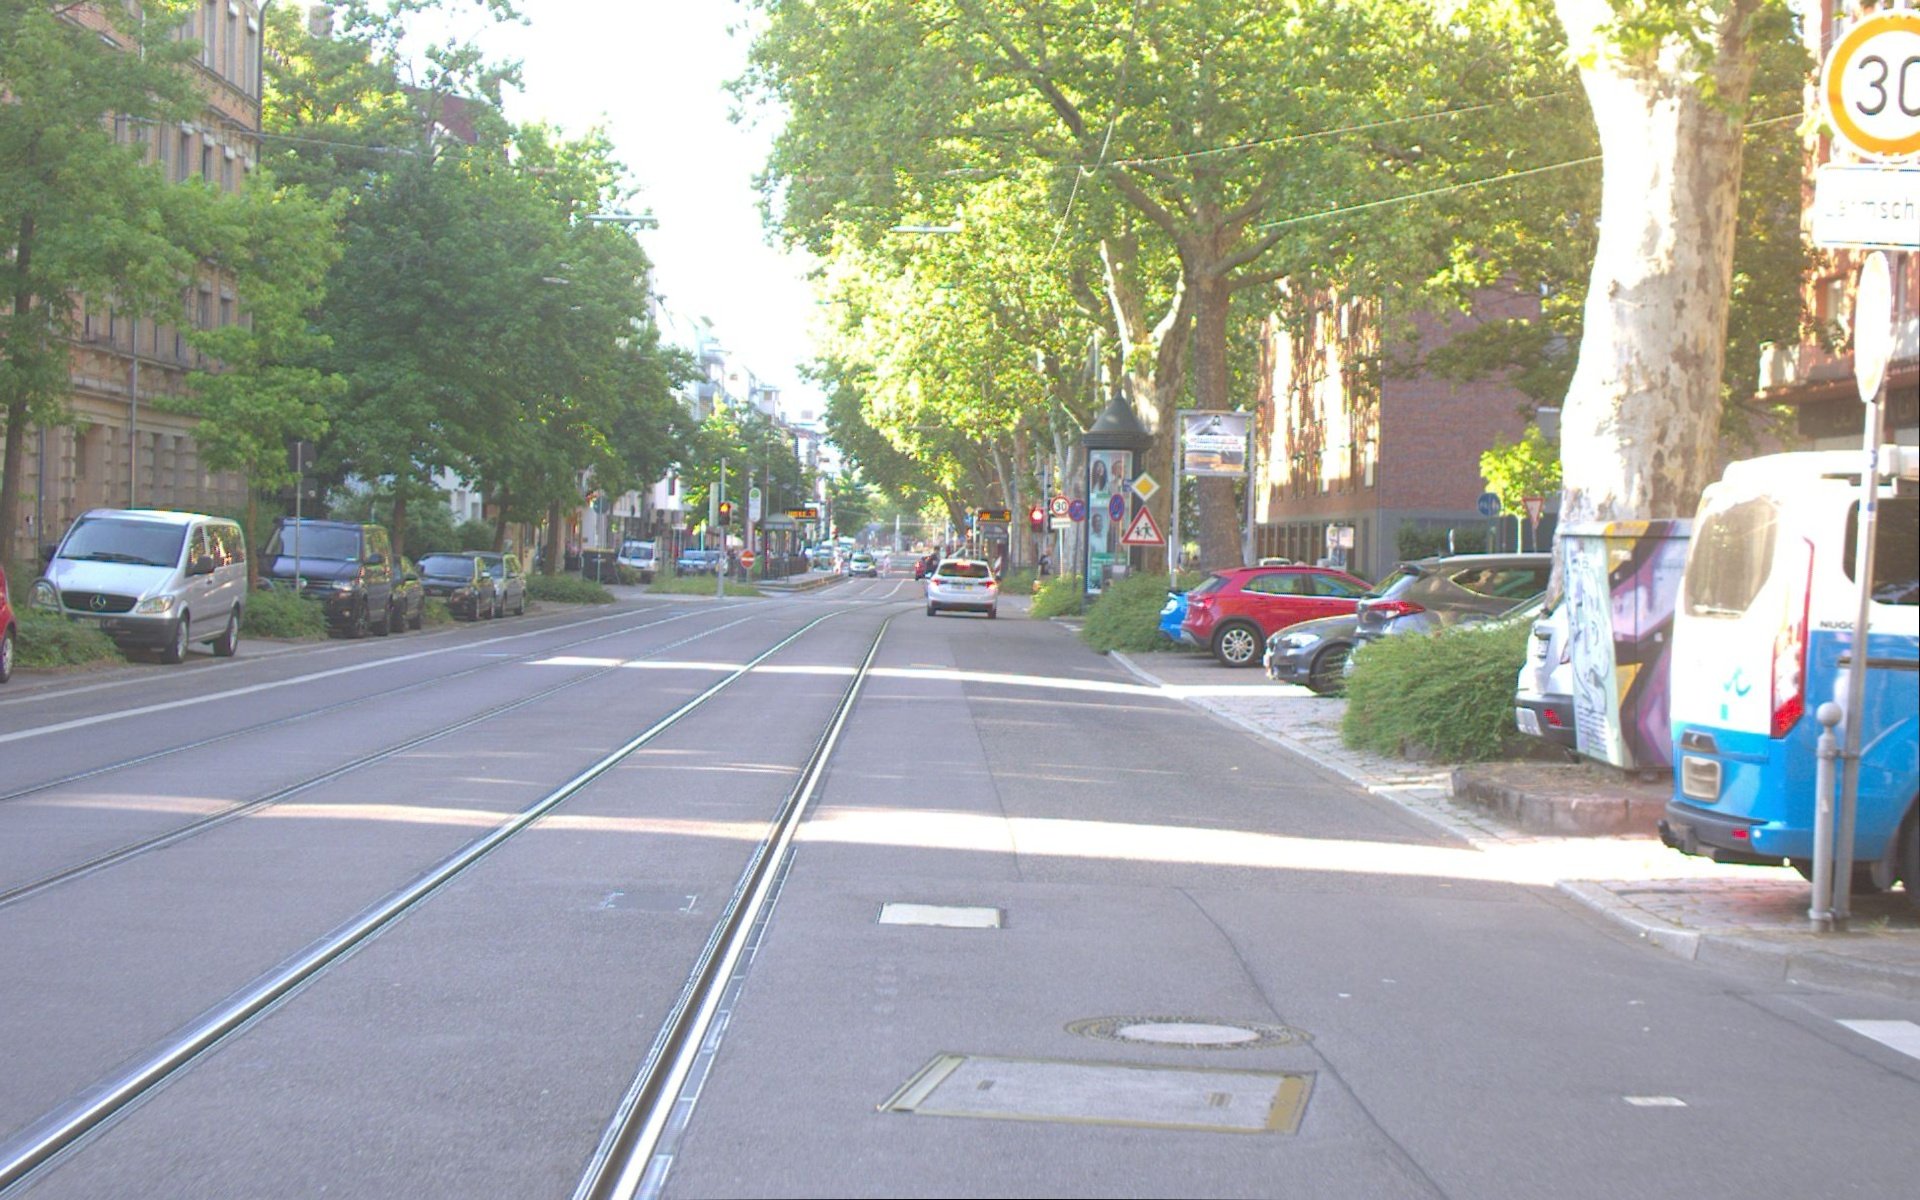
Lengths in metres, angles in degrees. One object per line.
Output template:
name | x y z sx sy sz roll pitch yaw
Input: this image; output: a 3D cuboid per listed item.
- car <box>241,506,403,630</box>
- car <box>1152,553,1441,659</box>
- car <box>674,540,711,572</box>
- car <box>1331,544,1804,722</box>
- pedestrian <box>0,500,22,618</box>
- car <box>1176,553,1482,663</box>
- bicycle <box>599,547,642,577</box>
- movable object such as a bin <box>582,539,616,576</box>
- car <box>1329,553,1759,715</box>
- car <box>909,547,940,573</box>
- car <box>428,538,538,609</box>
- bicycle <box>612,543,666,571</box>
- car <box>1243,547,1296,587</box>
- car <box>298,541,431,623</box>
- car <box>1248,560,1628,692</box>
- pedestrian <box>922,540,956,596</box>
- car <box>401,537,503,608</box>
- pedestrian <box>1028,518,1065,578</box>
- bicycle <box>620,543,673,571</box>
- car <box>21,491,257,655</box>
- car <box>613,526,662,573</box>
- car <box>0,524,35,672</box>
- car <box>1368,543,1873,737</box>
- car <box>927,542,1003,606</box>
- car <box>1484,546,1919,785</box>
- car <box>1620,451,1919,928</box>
car | -10.943 -0.570 59.263 1.993 2.007 4.835 1 1 -2
car | 5.280 0.070 53.906 4.404 1.537 1.817 1 1 7
car | -13.791 -2.276 177.302 1.593 1.543 4.000 4 1 -1
car | 5.886 0.302 33.628 4.199 1.613 1.879 1 1 -3
pedestrian | -13.766 -0.598 48.732 0.605 1.656 0.947 2 1 0
car | 5.492 0.104 51.622 4.403 1.537 1.952 1 1 2
bicycle | -13.226 -1.477 133.938 1.533 1.071 0.885 4 1 -1
movable object such as a bin | -13.843 -1.636 131.861 1.169 1.344 0.783 5 0 -5
car | 6.062 0.335 36.029 4.200 1.568 1.817 1 1 2
car | -2.090 -2.394 203.942 1.788 1.508 4.000 1 1 -1
car | -11.090 -0.644 80.209 1.700 1.545 4.536 2 1 2
bicycle | -14.257 -1.900 152.733 2.253 1.070 0.636 5 1 1
car | 11.993 -1.304 133.403 1.600 1.490 3.417 1 1 -2
car | -11.115 -0.363 64.435 1.853 1.453 4.270 1 1 -2
car | 5.614 0.292 40.739 4.199 1.443 1.818 1 1 -1
pedestrian | -0.693 -1.038 111.962 0.994 1.805 0.864 1 1 -6
car | -11.025 -0.616 74.771 1.658 1.440 3.950 2 1 -1
pedestrian | 2.749 -1.671 109.807 0.982 1.857 1.016 -2 1 -6
bicycle | -14.105 -1.938 154.603 2.253 1.070 0.636 5 1 1
car | -10.631 -0.373 44.874 1.843 1.982 4.988 1 1 0
car | -13.616 -2.130 145.255 1.688 1.933 4.000 1 1 -1
car | -10.785 -0.031 35.165 1.685 1.534 3.708 1 1 -1
car | 5.886 0.336 31.012 4.200 1.613 1.817 1 1 2
car | 0.095 -0.665 85.233 1.788 1.508 4.000 1 1 -1
car | 5.773 0.429 24.381 3.781 1.613 1.791 0 1 -2
car | 5.684 0.343 15.704 4.845 2.007 2.195 0 1 -4
